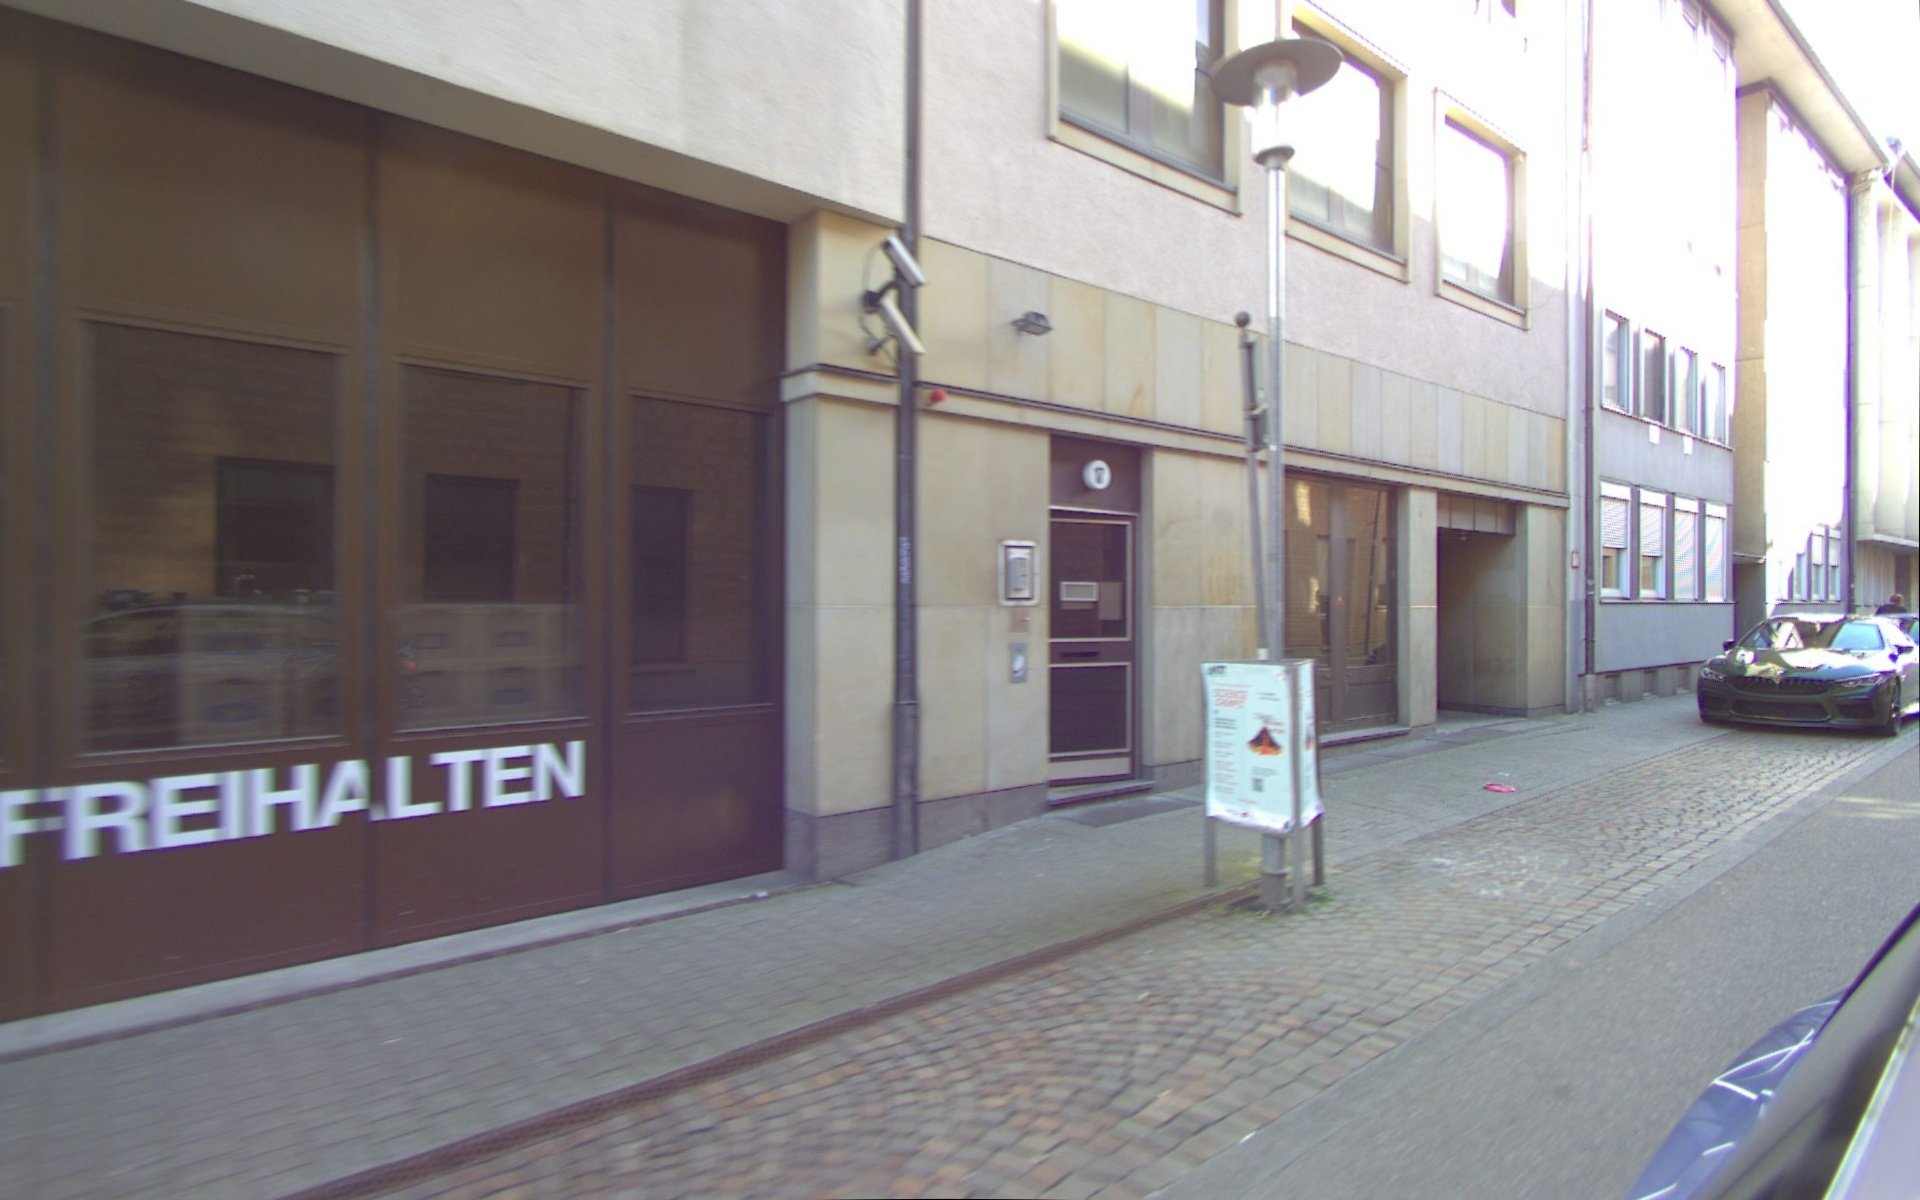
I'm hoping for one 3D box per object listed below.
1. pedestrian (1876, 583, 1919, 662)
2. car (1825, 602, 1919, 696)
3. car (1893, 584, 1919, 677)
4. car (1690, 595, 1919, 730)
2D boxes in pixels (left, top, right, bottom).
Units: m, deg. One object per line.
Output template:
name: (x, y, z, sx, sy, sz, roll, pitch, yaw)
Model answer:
pedestrian: (21.640, 0.495, 23.183, 0.733, 1.742, 0.791, 1, 2, -38)
car: (16.289, 0.747, 17.020, 4.704, 1.431, 1.810, 0, -2, -39)
car: (21.105, 0.582, 20.715, 4.958, 1.809, 2.109, 0, -1, -37)
car: (11.625, 0.694, 13.367, 5.131, 1.472, 1.898, 0, -1, -39)
